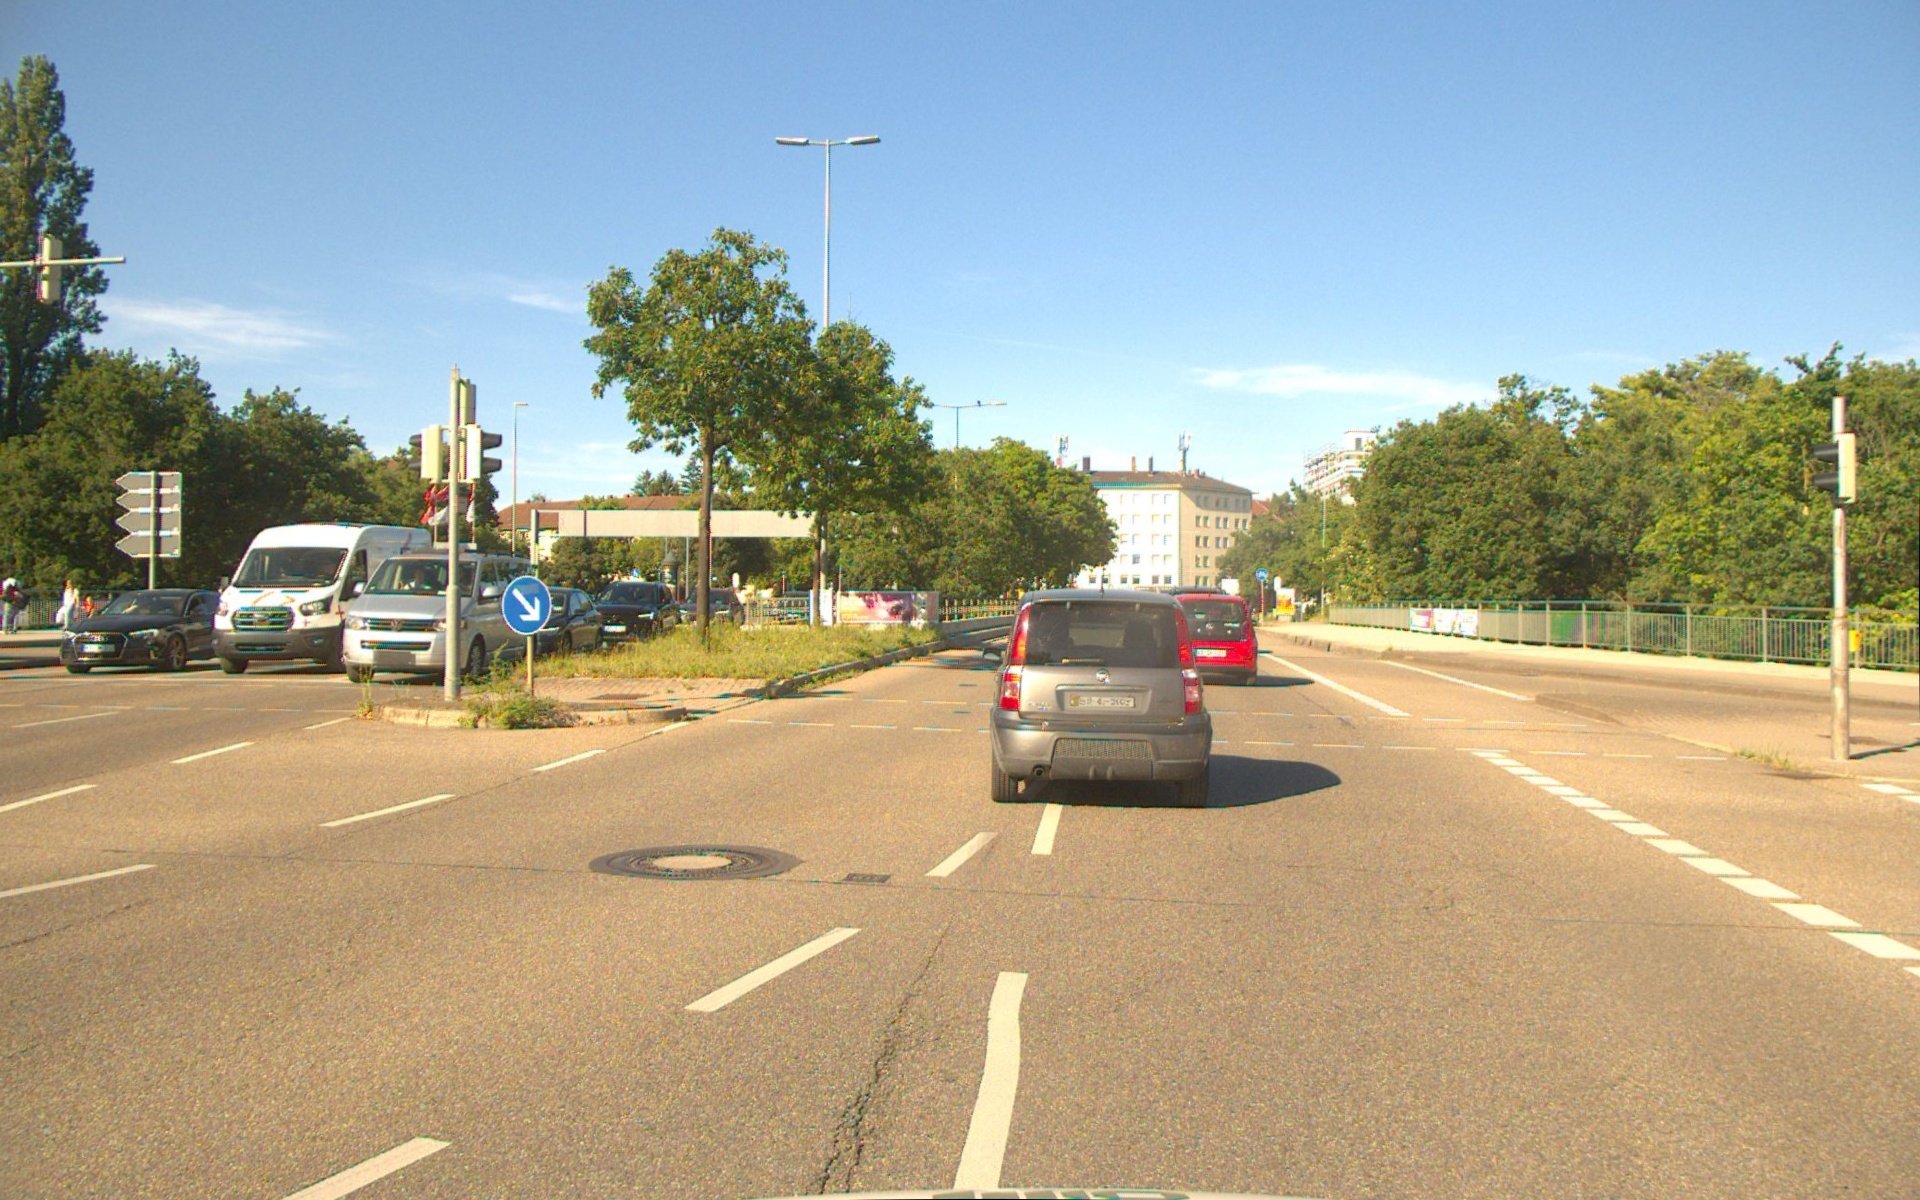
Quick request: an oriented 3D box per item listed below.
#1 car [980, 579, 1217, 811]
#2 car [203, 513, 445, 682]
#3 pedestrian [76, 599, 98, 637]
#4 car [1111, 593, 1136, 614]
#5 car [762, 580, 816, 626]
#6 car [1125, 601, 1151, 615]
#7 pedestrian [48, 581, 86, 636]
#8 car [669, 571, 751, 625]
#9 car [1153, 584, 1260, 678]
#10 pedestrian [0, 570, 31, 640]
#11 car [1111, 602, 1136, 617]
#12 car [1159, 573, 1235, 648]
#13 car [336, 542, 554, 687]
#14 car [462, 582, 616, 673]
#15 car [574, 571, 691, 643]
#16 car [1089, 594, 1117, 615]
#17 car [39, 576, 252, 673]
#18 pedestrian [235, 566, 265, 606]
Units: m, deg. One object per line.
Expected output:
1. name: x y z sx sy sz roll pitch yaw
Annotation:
1. car: 1.047 0.633 13.180 1.583 1.542 3.821 1 0 3
2. car: -10.860 -0.046 28.811 1.897 2.621 6.088 0 0 -1
3. pedestrian: -27.261 0.557 51.670 0.414 1.156 0.398 1 -2 4
4. car: 13.050 0.276 131.843 1.904 1.555 4.100 1 0 7
5. car: -7.862 0.125 76.474 1.952 2.049 4.335 0 0 1
6. car: 19.556 0.872 181.604 1.905 1.555 4.097 1 0 21
7. pedestrian: -27.854 0.261 51.589 0.705 1.670 0.673 1 -2 4
8. car: -8.001 -0.081 53.400 1.897 1.650 4.506 0 0 1
9. car: 4.193 0.490 28.560 1.583 1.488 3.753 1 0 5
10. pedestrian: -27.987 0.154 48.640 0.789 2.032 0.788 1 -2 4
11. car: 17.147 0.975 173.716 1.904 1.555 4.100 1 0 16
12. car: 6.503 0.303 45.106 1.904 1.872 4.156 2 -1 10
13. car: -7.910 0.196 25.927 1.897 2.043 4.931 0 0 -1
14. car: -8.180 0.497 32.532 1.897 1.650 4.505 0 0 -1
15. car: -7.942 0.157 40.546 1.897 1.650 4.506 0 0 1
16. car: 10.540 0.332 121.711 1.904 1.555 4.100 1 0 7
17. car: -14.047 0.383 28.798 1.898 1.534 3.997 -1 0 -3
18. pedestrian: -27.612 -0.549 64.334 0.656 1.529 0.779 1 -2 19
